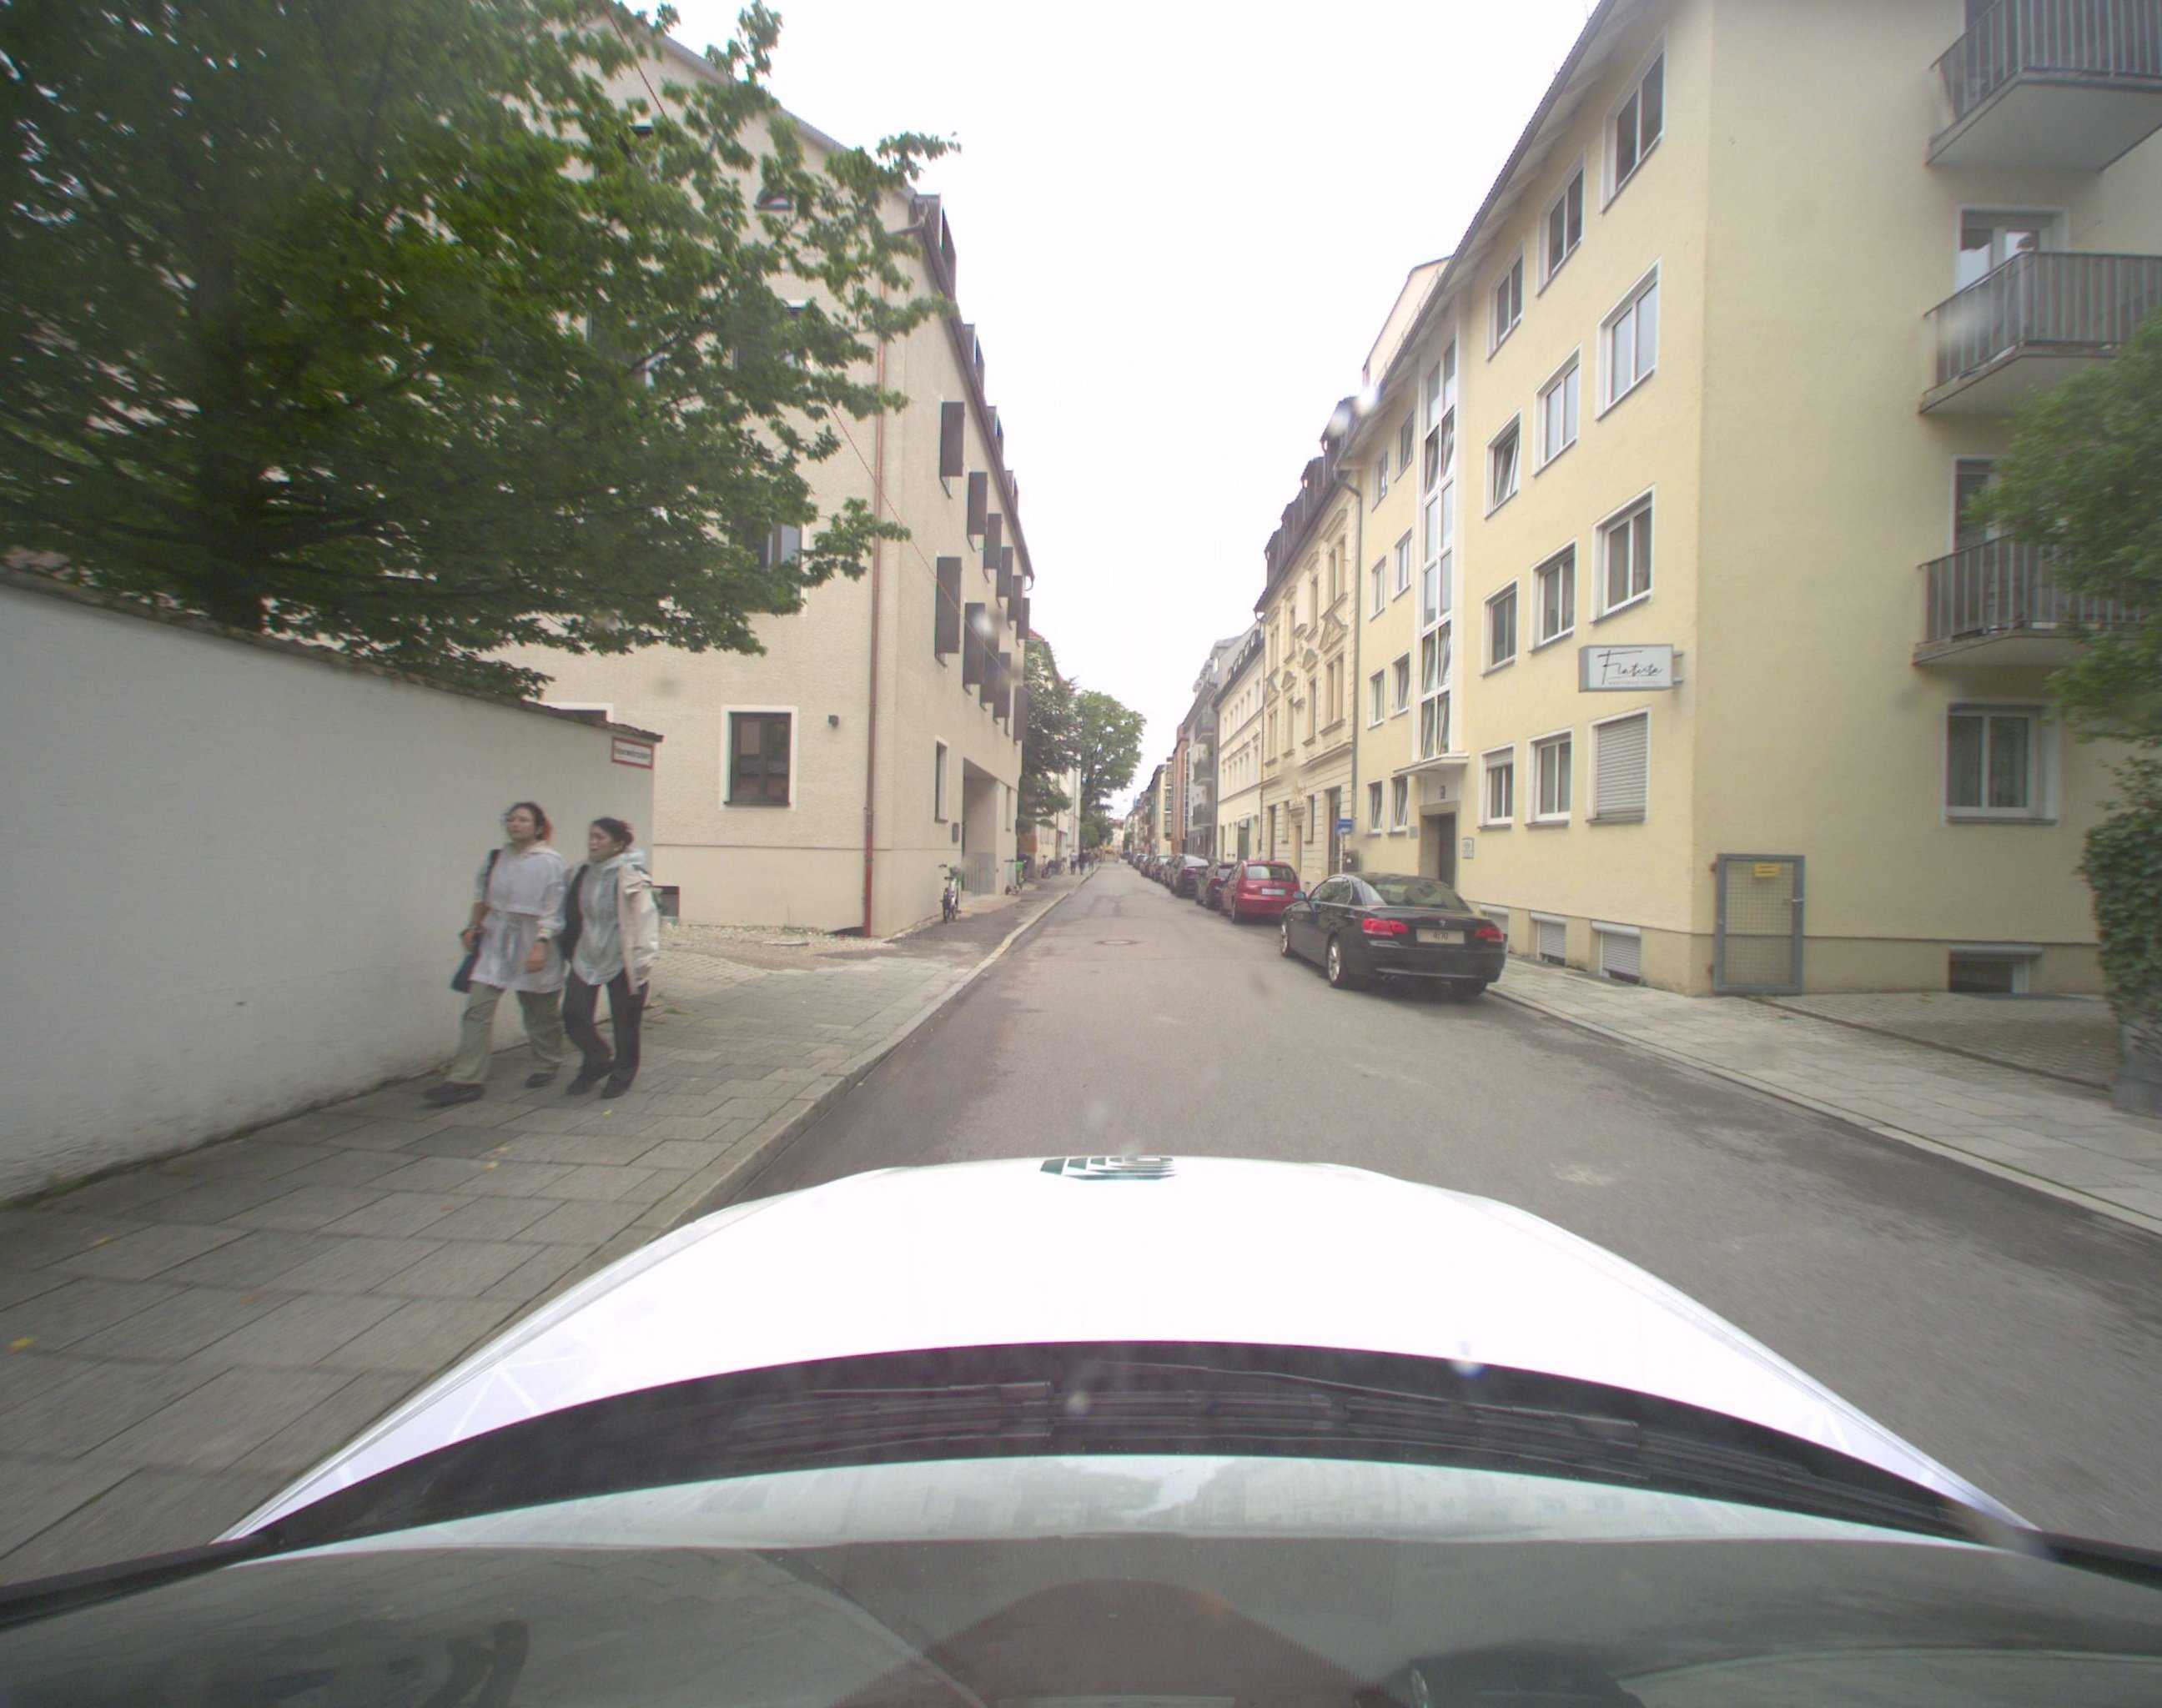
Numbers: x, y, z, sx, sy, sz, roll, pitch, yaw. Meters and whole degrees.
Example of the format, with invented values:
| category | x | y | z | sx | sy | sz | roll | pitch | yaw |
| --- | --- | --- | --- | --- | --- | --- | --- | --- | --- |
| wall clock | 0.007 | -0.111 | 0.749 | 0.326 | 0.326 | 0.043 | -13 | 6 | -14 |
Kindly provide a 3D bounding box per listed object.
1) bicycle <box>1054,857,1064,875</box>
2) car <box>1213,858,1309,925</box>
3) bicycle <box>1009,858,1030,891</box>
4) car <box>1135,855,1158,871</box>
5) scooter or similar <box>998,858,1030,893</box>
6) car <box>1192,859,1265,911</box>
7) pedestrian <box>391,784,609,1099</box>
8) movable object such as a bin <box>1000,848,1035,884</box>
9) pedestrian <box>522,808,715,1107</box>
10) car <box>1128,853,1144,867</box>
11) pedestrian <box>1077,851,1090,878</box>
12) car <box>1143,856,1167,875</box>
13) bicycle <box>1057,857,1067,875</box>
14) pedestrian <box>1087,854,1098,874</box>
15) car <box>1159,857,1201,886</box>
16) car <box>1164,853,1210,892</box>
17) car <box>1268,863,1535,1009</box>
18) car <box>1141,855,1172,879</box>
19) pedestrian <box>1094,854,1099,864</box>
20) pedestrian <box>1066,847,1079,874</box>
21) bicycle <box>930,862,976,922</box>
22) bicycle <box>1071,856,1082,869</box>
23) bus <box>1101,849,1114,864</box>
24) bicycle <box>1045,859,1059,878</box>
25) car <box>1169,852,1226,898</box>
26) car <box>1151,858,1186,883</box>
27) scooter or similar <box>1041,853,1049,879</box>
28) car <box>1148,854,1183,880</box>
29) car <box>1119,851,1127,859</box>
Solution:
| category | x | y | z | sx | sy | sz | roll | pitch | yaw |
| --- | --- | --- | --- | --- | --- | --- | --- | --- | --- |
| bicycle | -1.449 | 0.790 | 53.677 | 0.456 | 1.159 | 1.606 | 4 | 0 | 3 |
| car | 4.454 | 0.872 | 20.677 | 1.669 | 1.492 | 3.855 | 2 | 0 | 2 |
| bicycle | -2.295 | 0.754 | 30.471 | 0.542 | 1.161 | 1.882 | 3 | 0 | 1 |
| car | 6.558 | 0.863 | 81.921 | 1.879 | 1.555 | 4.391 | 2 | 0 | 0 |
| scooter or similar | -2.331 | 0.751 | 28.405 | 0.547 | 1.144 | 1.364 | 4 | 0 | 19 |
| car | 4.500 | 0.900 | 25.384 | 1.669 | 1.393 | 4.067 | 2 | 0 | 2 |
| pedestrian | -3.267 | 0.459 | 4.642 | 0.611 | 1.621 | 0.688 | 4 | -1 | 2 |
| movable object such as a bin | -2.784 | 0.520 | 35.970 | 1.168 | 1.442 | 1.251 | 6 | 2 | 8 |
| pedestrian | -2.651 | 0.557 | 4.743 | 0.620 | 1.579 | 0.714 | 3 | -1 | 2 |
| car | 7.979 | 0.824 | 118.399 | 1.795 | 1.820 | 4.000 | 5 | 0 | 0 |
| pedestrian | 0.170 | 0.716 | 55.862 | 0.715 | 1.765 | 0.838 | 3 | -1 | 2 |
| car | 6.098 | 0.931 | 67.472 | 1.739 | 1.462 | 4.151 | 2 | 0 | 1 |
| bicycle | -1.303 | 0.806 | 55.391 | 0.560 | 1.159 | 1.718 | 2 | -1 | -4 |
| pedestrian | 0.988 | 0.840 | 69.019 | 0.750 | 1.659 | 0.907 | 3 | -1 | 2 |
| car | 5.127 | 0.880 | 42.718 | 1.793 | 1.386 | 4.350 | 1 | 0 | 2 |
| car | 4.834 | 0.792 | 37.579 | 1.669 | 1.661 | 4.515 | 2 | 0 | 2 |
| car | 3.914 | 0.897 | 10.895 | 1.819 | 1.334 | 4.510 | 5 | 0 | 2 |
| car | 5.244 | 0.877 | 57.070 | 1.833 | 1.528 | 4.294 | 2 | 0 | 1 |
| pedestrian | 2.404 | 0.772 | 129.616 | 0.753 | 1.491 | 0.832 | 1 | -1 | 2 |
| pedestrian | -0.560 | 0.462 | 55.576 | 0.715 | 1.796 | 0.917 | 3 | -1 | 2 |
| bicycle | -2.625 | 0.750 | 16.826 | 0.536 | 1.139 | 1.917 | 3 | 0 | 1 |
| bicycle | -0.422 | 0.819 | 78.351 | 0.643 | 1.217 | 1.655 | 1 | -1 | -17 |
| bus | 5.405 | 0.508 | 164.197 | 2.582 | 3.102 | 6.309 | 1 | -1 | 2 |
| bicycle | -1.631 | 0.819 | 45.532 | 0.702 | 0.984 | 1.821 | 6 | 0 | -2 |
| car | 4.471 | 0.768 | 31.948 | 1.695 | 1.607 | 4.687 | 2 | 0 | 2 |
| car | 5.041 | 0.930 | 47.261 | 1.800 | 1.363 | 3.948 | 1 | 0 | 3 |
| scooter or similar | -1.925 | 0.616 | 43.808 | 0.316 | 1.376 | 1.239 | 1 | -1 | 2 |
| car | 5.368 | 0.815 | 52.177 | 1.869 | 1.570 | 4.316 | 0 | 0 | 0 |
| car | 10.091 | 0.202 | 196.475 | 1.795 | 1.711 | 3.827 | 5 | 0 | 0 |
